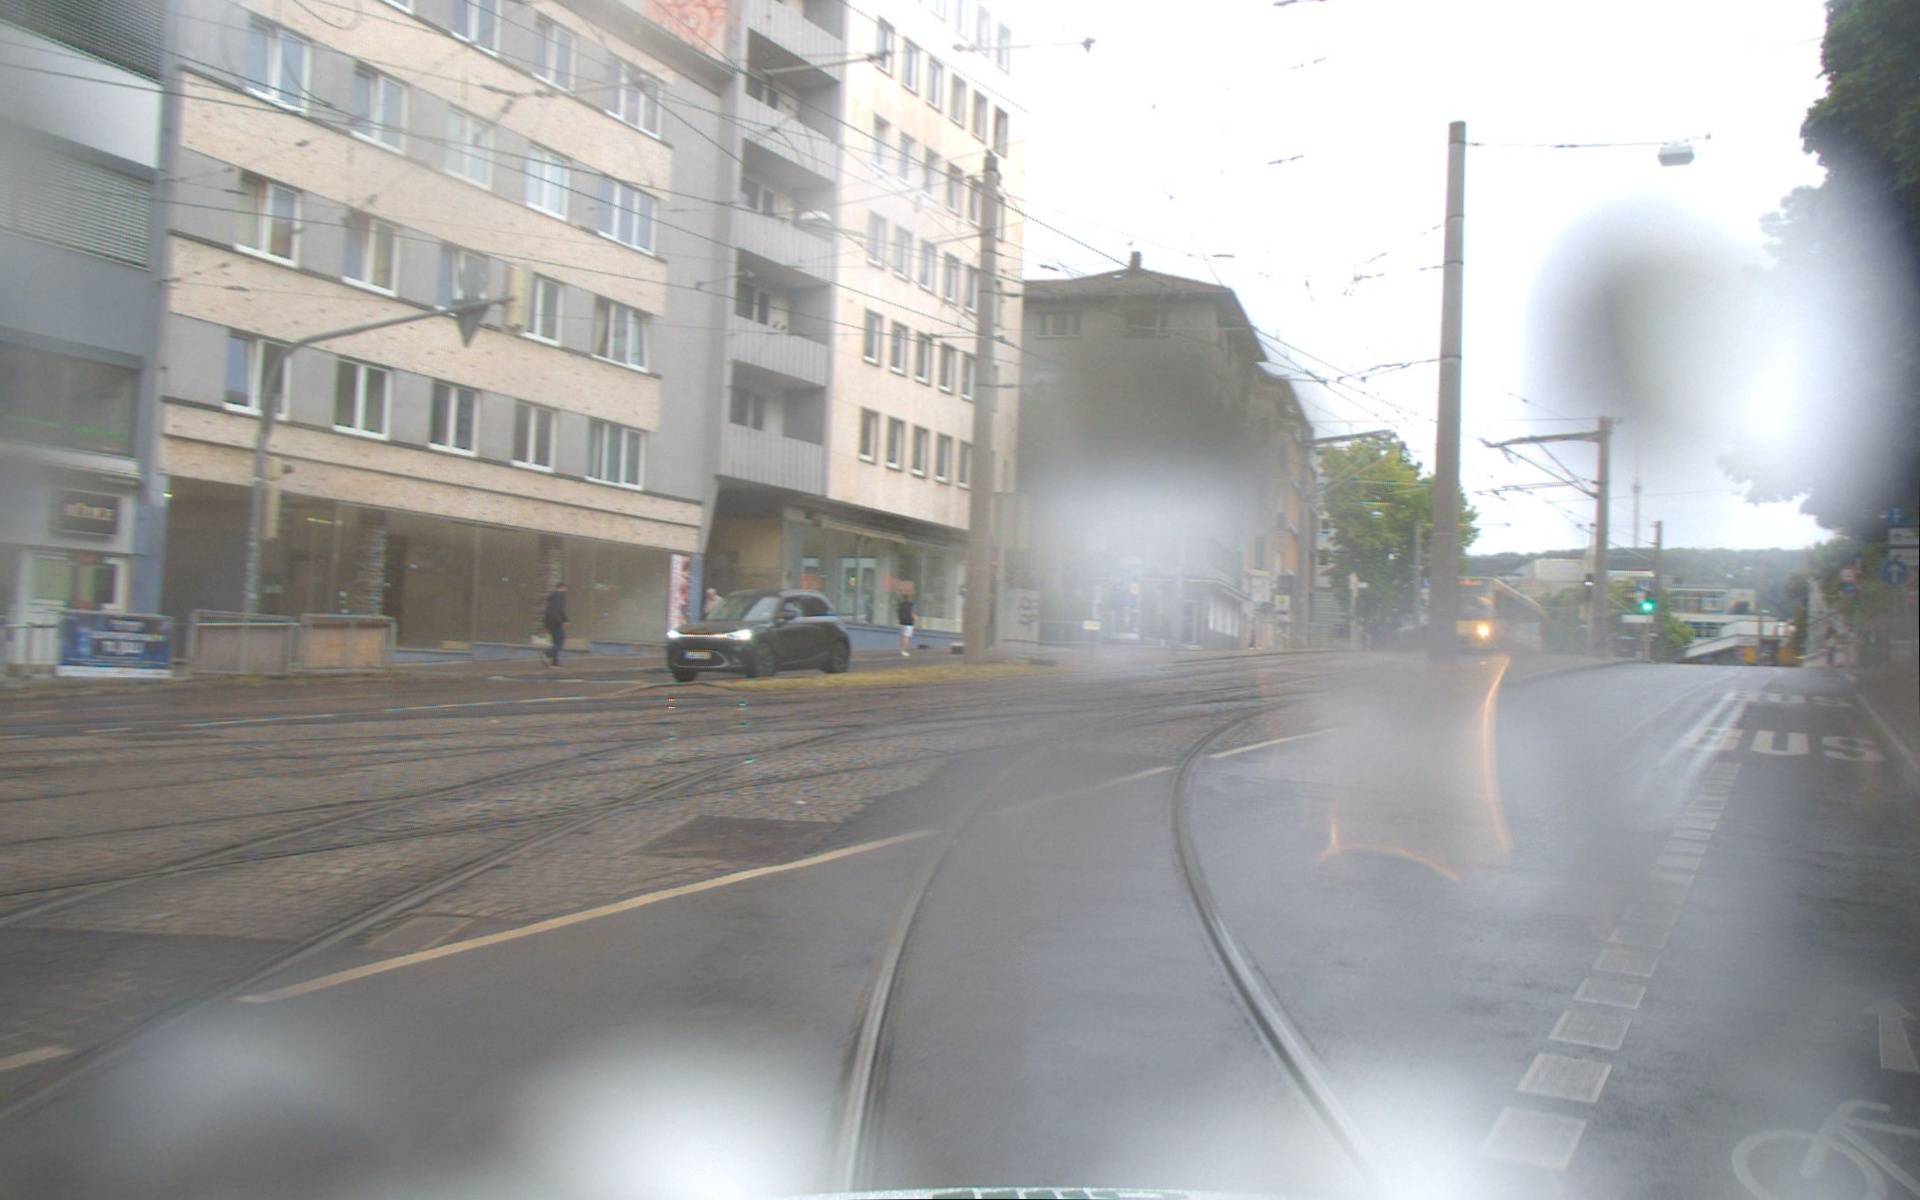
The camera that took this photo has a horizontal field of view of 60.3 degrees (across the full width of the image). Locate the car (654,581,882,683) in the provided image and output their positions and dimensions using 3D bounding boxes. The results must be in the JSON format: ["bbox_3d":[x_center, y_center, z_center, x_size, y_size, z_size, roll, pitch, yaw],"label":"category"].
[{"bbox_3d":[-3.404,0.560,30.265,1.955,1.702,4.521,0,-1,28],"label":"car"}]

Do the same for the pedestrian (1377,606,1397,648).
[{"bbox_3d":[18.578,1.160,71.987,0.718,1.822,0.696,0,-1,26],"label":"pedestrian"}]

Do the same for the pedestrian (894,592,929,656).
[{"bbox_3d":[-1.360,0.683,46.448,0.585,1.768,0.909,0,-1,26],"label":"pedestrian"}]

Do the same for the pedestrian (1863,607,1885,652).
[{"bbox_3d":[37.524,1.209,67.927,0.685,1.816,1.066,1,-1,24],"label":"pedestrian"}]

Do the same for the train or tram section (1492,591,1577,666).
[{"bbox_3d":[33.669,1.863,96.342,2.692,3.762,18.953,1,-2,25],"label":"train or tram section"}]

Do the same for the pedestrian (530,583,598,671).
[{"bbox_3d":[-7.903,0.534,33.035,0.870,1.710,0.997,0,-1,28],"label":"pedestrian"}]

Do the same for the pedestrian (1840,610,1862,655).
[{"bbox_3d":[36.700,1.333,68.134,0.686,1.847,0.976,1,-1,24],"label":"pedestrian"}]

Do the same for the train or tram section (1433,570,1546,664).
[{"bbox_3d":[25.635,1.044,79.237,2.692,3.762,18.953,1,-2,25],"label":"train or tram section"}]

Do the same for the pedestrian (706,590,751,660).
[{"bbox_3d":[-5.743,0.618,41.055,0.665,1.710,0.998,0,-1,26],"label":"pedestrian"}]

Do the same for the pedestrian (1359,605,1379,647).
[{"bbox_3d":[17.883,1.153,72.309,0.718,1.822,0.696,0,-1,26],"label":"pedestrian"}]
